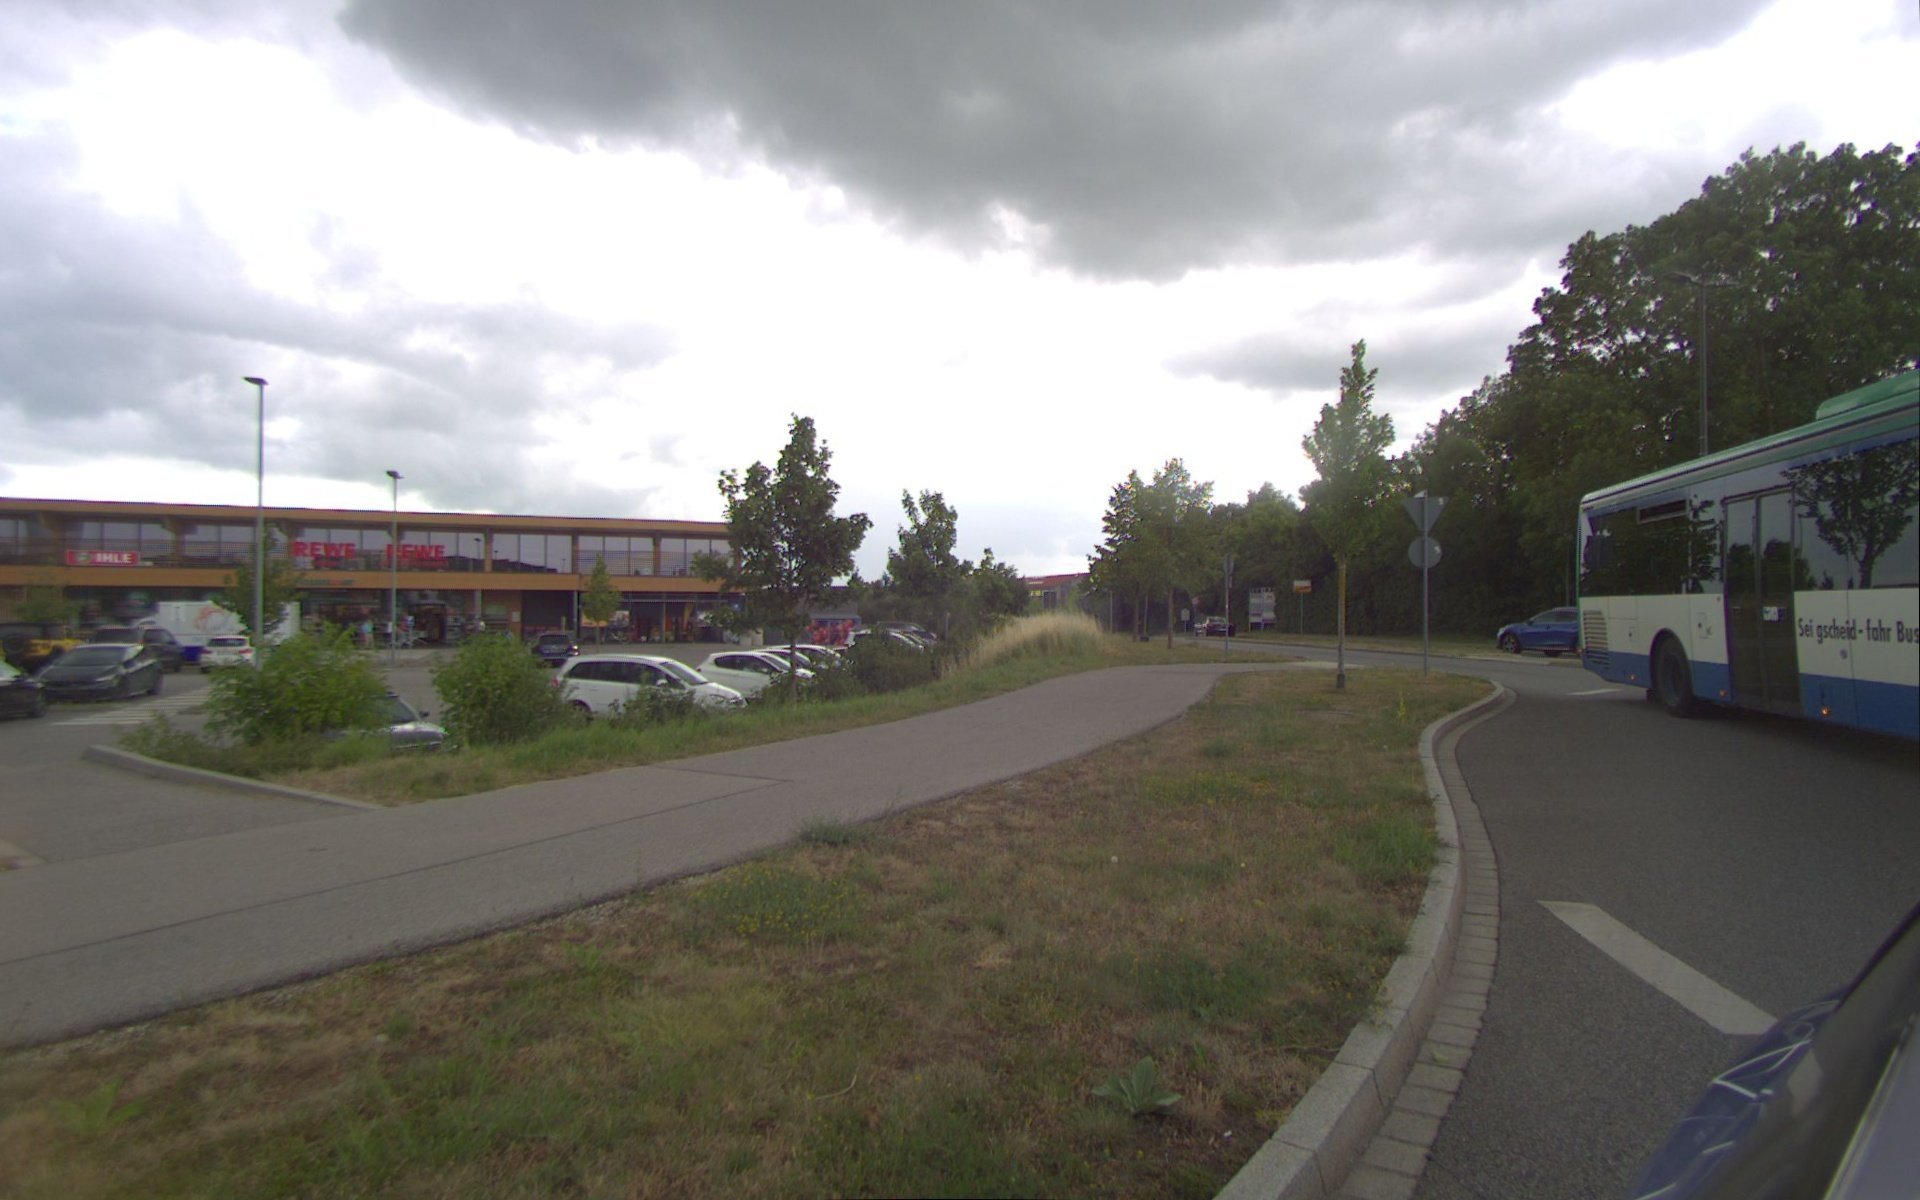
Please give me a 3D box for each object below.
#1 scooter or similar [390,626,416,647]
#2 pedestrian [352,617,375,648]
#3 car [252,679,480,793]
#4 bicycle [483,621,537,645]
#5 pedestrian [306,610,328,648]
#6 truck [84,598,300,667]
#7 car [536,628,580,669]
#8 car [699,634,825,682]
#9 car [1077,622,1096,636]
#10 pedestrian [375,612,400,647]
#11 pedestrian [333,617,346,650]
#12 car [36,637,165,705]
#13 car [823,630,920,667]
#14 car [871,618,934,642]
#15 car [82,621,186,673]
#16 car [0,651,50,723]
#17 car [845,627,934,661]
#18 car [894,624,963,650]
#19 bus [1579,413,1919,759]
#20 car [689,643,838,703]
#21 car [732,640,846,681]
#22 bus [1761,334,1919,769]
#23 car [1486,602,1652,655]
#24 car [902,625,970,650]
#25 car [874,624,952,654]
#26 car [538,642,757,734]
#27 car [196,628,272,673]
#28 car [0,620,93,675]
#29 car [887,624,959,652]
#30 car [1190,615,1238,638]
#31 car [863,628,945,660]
[{"bbox_3d":[-31.438,2.064,57.128,0.783,1.141,0.996,-2,-3,19],"label":"scooter or similar"},{"bbox_3d":[-32.546,1.769,55.235,0.793,1.678,0.747,0,-1,15],"label":"pedestrian"},{"bbox_3d":[-9.238,2.017,15.673,3.704,1.390,1.562,-1,-1,33],"label":"car"},{"bbox_3d":[-26.196,1.923,58.952,2.809,1.326,0.981,0,-1,-22],"label":"bicycle"},{"bbox_3d":[-34.961,1.561,55.060,0.913,2.039,0.807,0,-1,-26],"label":"pedestrian"},{"bbox_3d":[-33.613,1.361,44.702,7.108,2.843,2.981,0,-1,-25],"label":"truck"},{"bbox_3d":[-17.266,2.046,43.382,1.680,1.588,3.677,0,0,-22],"label":"car"},{"bbox_3d":[-6.089,1.789,31.394,3.604,1.311,1.717,-1,0,-3],"label":"car"},{"bbox_3d":[14.641,3.323,117.255,1.612,1.524,3.583,0,0,-2],"label":"car"},{"bbox_3d":[-31.785,1.641,56.238,0.783,1.923,0.922,-2,-3,19],"label":"pedestrian"},{"bbox_3d":[-37.894,2.022,61.809,0.568,1.973,0.524,0,-1,-39],"label":"pedestrian"},{"bbox_3d":[-23.445,1.876,27.763,1.696,1.573,4.006,0,-1,-25],"label":"car"},{"bbox_3d":[-3.768,2.070,43.223,3.828,1.483,1.692,0,0,11],"label":"car"},{"bbox_3d":[-3.680,1.883,64.148,3.921,1.462,1.885,0,0,-4],"label":"car"},{"bbox_3d":[-30.970,1.725,38.090,1.813,1.747,4.128,-2,0,-21],"label":"car"},{"bbox_3d":[-21.615,1.929,21.856,1.798,1.416,4.007,0,0,-25],"label":"car"},{"bbox_3d":[-3.274,2.028,47.123,3.828,1.483,1.692,0,0,11],"label":"car"},{"bbox_3d":[-1.823,2.148,59.350,3.828,1.483,1.692,0,0,11],"label":"car"},{"bbox_3d":[9.819,-0.192,12.277,2.489,3.298,5.435,0,1,15],"label":"bus"},{"bbox_3d":[-5.611,2.075,29.229,3.923,1.527,2.000,-1,0,-1],"label":"car"},{"bbox_3d":[-5.847,2.053,34.785,3.613,1.311,1.413,0,-1,7],"label":"car"},{"bbox_3d":[8.243,-0.343,6.471,2.489,3.298,6.518,0,1,15],"label":"bus"},{"bbox_3d":[17.879,0.887,29.954,1.726,1.449,4.088,0,-3,-16],"label":"car"},{"bbox_3d":[-1.415,2.240,60.991,3.828,1.483,1.692,0,0,11],"label":"car"},{"bbox_3d":[-2.473,2.048,53.318,3.828,1.483,1.692,0,0,11],"label":"car"},{"bbox_3d":[-7.008,1.941,22.911,4.368,1.694,1.797,2,1,6],"label":"car"},{"bbox_3d":[-28.249,1.904,39.488,1.696,1.549,4.006,0,0,-26],"label":"car"},{"bbox_3d":[-34.101,1.720,37.477,1.735,1.878,4.007,-1,-1,-20],"label":"car"},{"bbox_3d":[-2.060,2.141,57.101,3.828,1.483,1.692,0,0,11],"label":"car"},{"bbox_3d":[15.855,1.624,63.389,1.795,1.324,4.116,1,0,-2],"label":"car"},{"bbox_3d":[-2.759,2.153,50.187,3.828,1.483,1.692,0,0,11],"label":"car"}]
